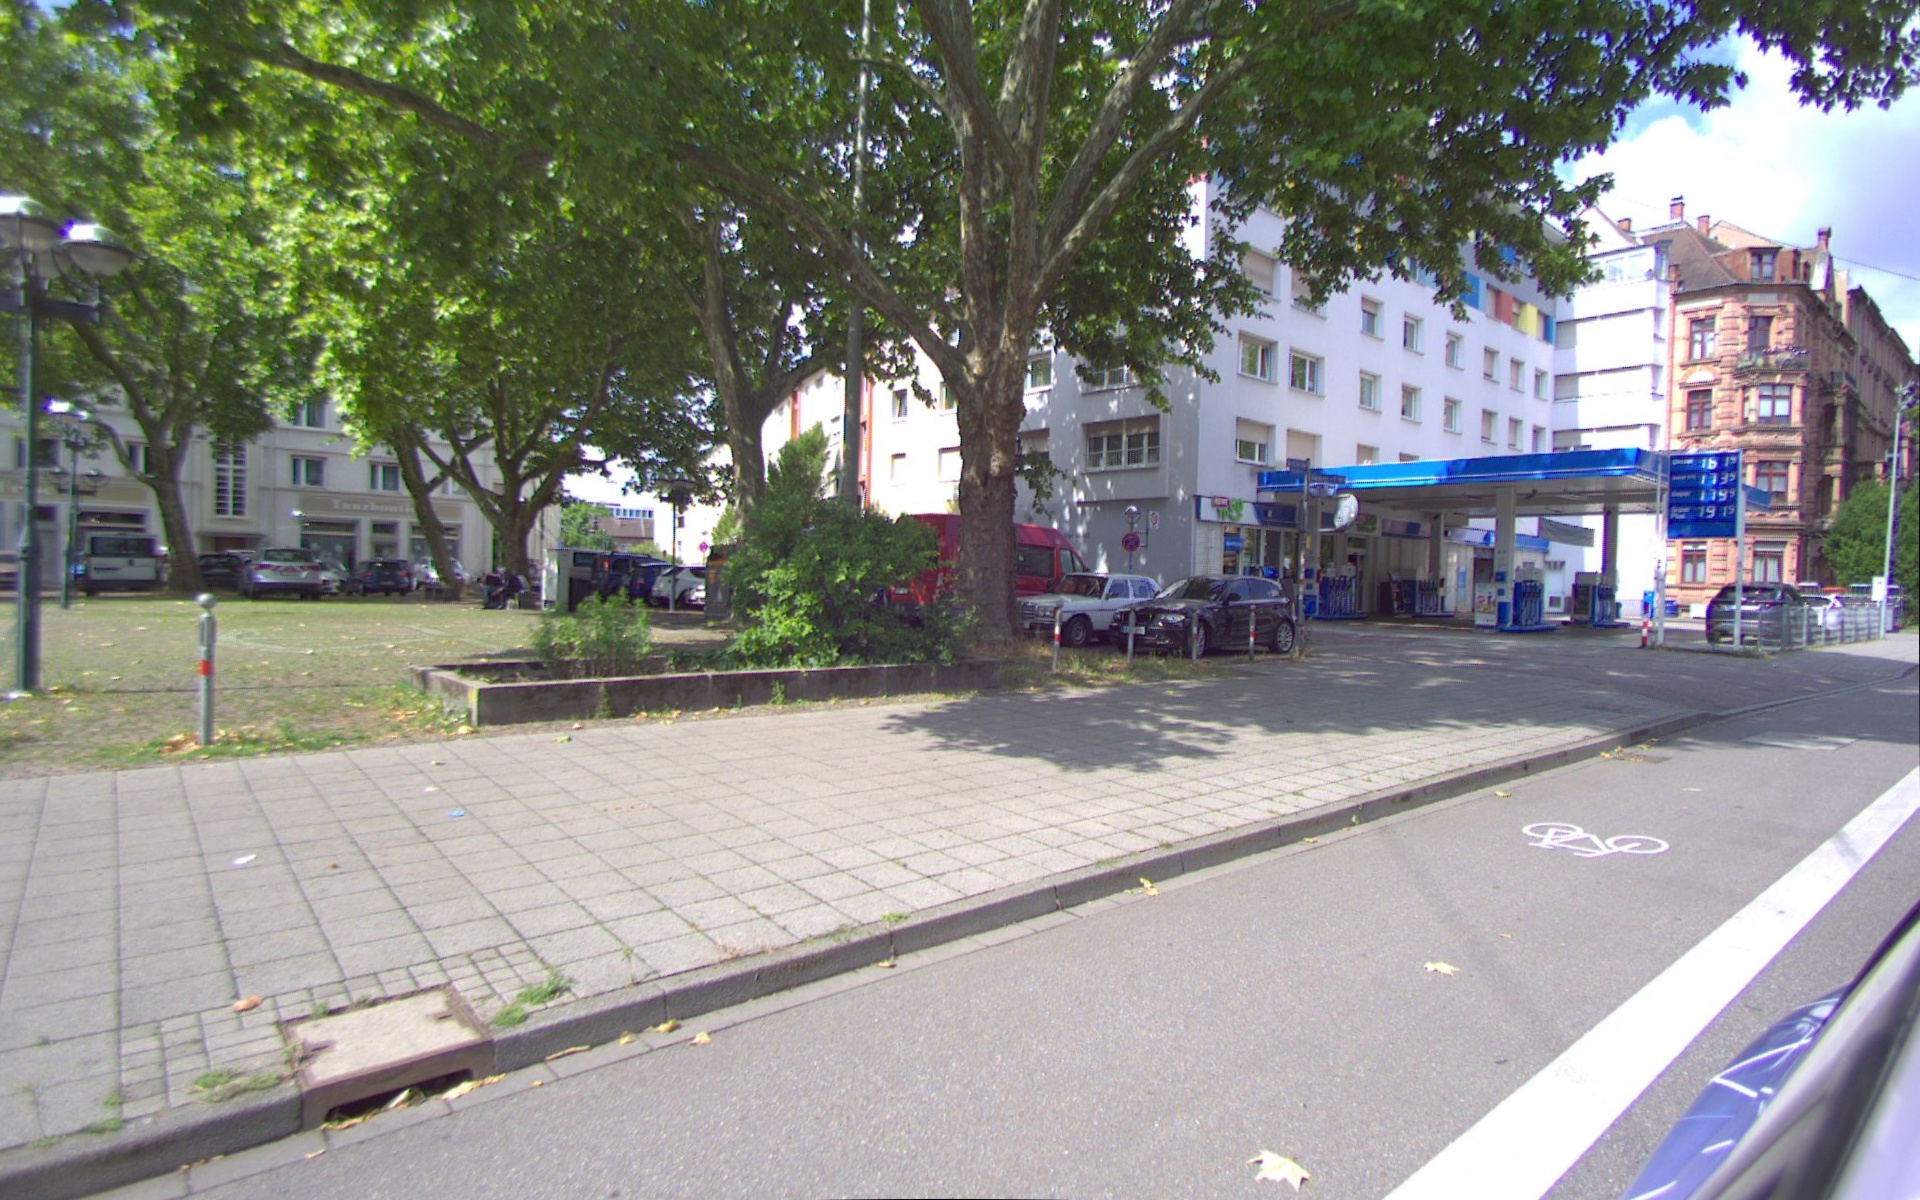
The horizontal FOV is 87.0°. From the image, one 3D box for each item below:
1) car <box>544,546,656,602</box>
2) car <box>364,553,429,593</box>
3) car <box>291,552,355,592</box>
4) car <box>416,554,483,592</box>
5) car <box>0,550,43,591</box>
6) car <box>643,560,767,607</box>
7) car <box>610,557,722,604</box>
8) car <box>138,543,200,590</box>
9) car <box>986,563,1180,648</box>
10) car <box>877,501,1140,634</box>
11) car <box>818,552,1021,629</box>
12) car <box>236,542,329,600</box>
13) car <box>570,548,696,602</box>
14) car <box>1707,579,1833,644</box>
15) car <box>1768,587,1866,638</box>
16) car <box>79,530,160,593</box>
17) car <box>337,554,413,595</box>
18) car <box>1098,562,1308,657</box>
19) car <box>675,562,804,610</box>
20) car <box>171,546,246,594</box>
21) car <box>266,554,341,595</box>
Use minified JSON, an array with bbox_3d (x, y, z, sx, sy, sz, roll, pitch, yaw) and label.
[{"bbox_3d":[-13.586,-0.963,38.272,3.581,2.012,1.825,0,2,-43],"label":"car"},{"bbox_3d":[-28.024,-1.365,50.270,2.151,1.827,4.695,0,2,-38],"label":"car"},{"bbox_3d":[-30.655,-1.373,48.618,2.151,1.827,4.757,0,2,-38],"label":"car"},{"bbox_3d":[-26.137,-1.393,51.743,2.151,1.827,4.757,0,2,-38],"label":"car"},{"bbox_3d":[-38.880,-1.249,41.251,2.001,1.569,4.692,0,2,-40],"label":"car"},{"bbox_3d":[-8.258,-0.507,32.944,3.581,1.433,1.647,0,0,-43],"label":"car"},{"bbox_3d":[-10.033,-0.631,34.675,3.320,1.527,1.600,0,0,-43],"label":"car"},{"bbox_3d":[-35.033,-1.485,44.789,2.001,1.953,4.692,0,2,-40],"label":"car"},{"bbox_3d":[2.501,0.070,19.956,3.976,1.488,1.650,0,2,-44],"label":"car"},{"bbox_3d":[1.219,-0.663,22.594,5.911,2.614,2.117,0,2,-39],"label":"car"},{"bbox_3d":[-0.907,-0.203,24.194,4.568,1.672,2.011,0,0,-39],"label":"car"},{"bbox_3d":[-21.012,-0.919,31.325,1.964,1.656,4.162,0,2,-40],"label":"car"},{"bbox_3d":[-11.841,-0.857,36.796,3.979,1.843,1.824,0,0,-43],"label":"car"},{"bbox_3d":[22.052,0.278,27.482,4.501,1.622,1.810,0,1,-40],"label":"car"},{"bbox_3d":[27.247,0.363,32.154,3.932,1.473,1.809,0,1,-41],"label":"car"},{"bbox_3d":[-29.093,-1.331,35.073,2.040,2.038,4.264,0,2,-40],"label":"car"},{"bbox_3d":[-23.618,-1.032,40.788,1.964,1.543,4.162,0,2,-40],"label":"car"},{"bbox_3d":[4.404,0.136,18.030,3.973,1.488,1.651,0,2,-42],"label":"car"},{"bbox_3d":[-6.735,-0.420,31.101,3.581,1.380,1.582,0,0,-43],"label":"car"},{"bbox_3d":[-27.318,-1.096,36.723,1.964,1.614,4.264,0,2,-40],"label":"car"},{"bbox_3d":[-24.808,-0.971,38.182,1.924,1.439,4.174,0,2,-40],"label":"car"}]
